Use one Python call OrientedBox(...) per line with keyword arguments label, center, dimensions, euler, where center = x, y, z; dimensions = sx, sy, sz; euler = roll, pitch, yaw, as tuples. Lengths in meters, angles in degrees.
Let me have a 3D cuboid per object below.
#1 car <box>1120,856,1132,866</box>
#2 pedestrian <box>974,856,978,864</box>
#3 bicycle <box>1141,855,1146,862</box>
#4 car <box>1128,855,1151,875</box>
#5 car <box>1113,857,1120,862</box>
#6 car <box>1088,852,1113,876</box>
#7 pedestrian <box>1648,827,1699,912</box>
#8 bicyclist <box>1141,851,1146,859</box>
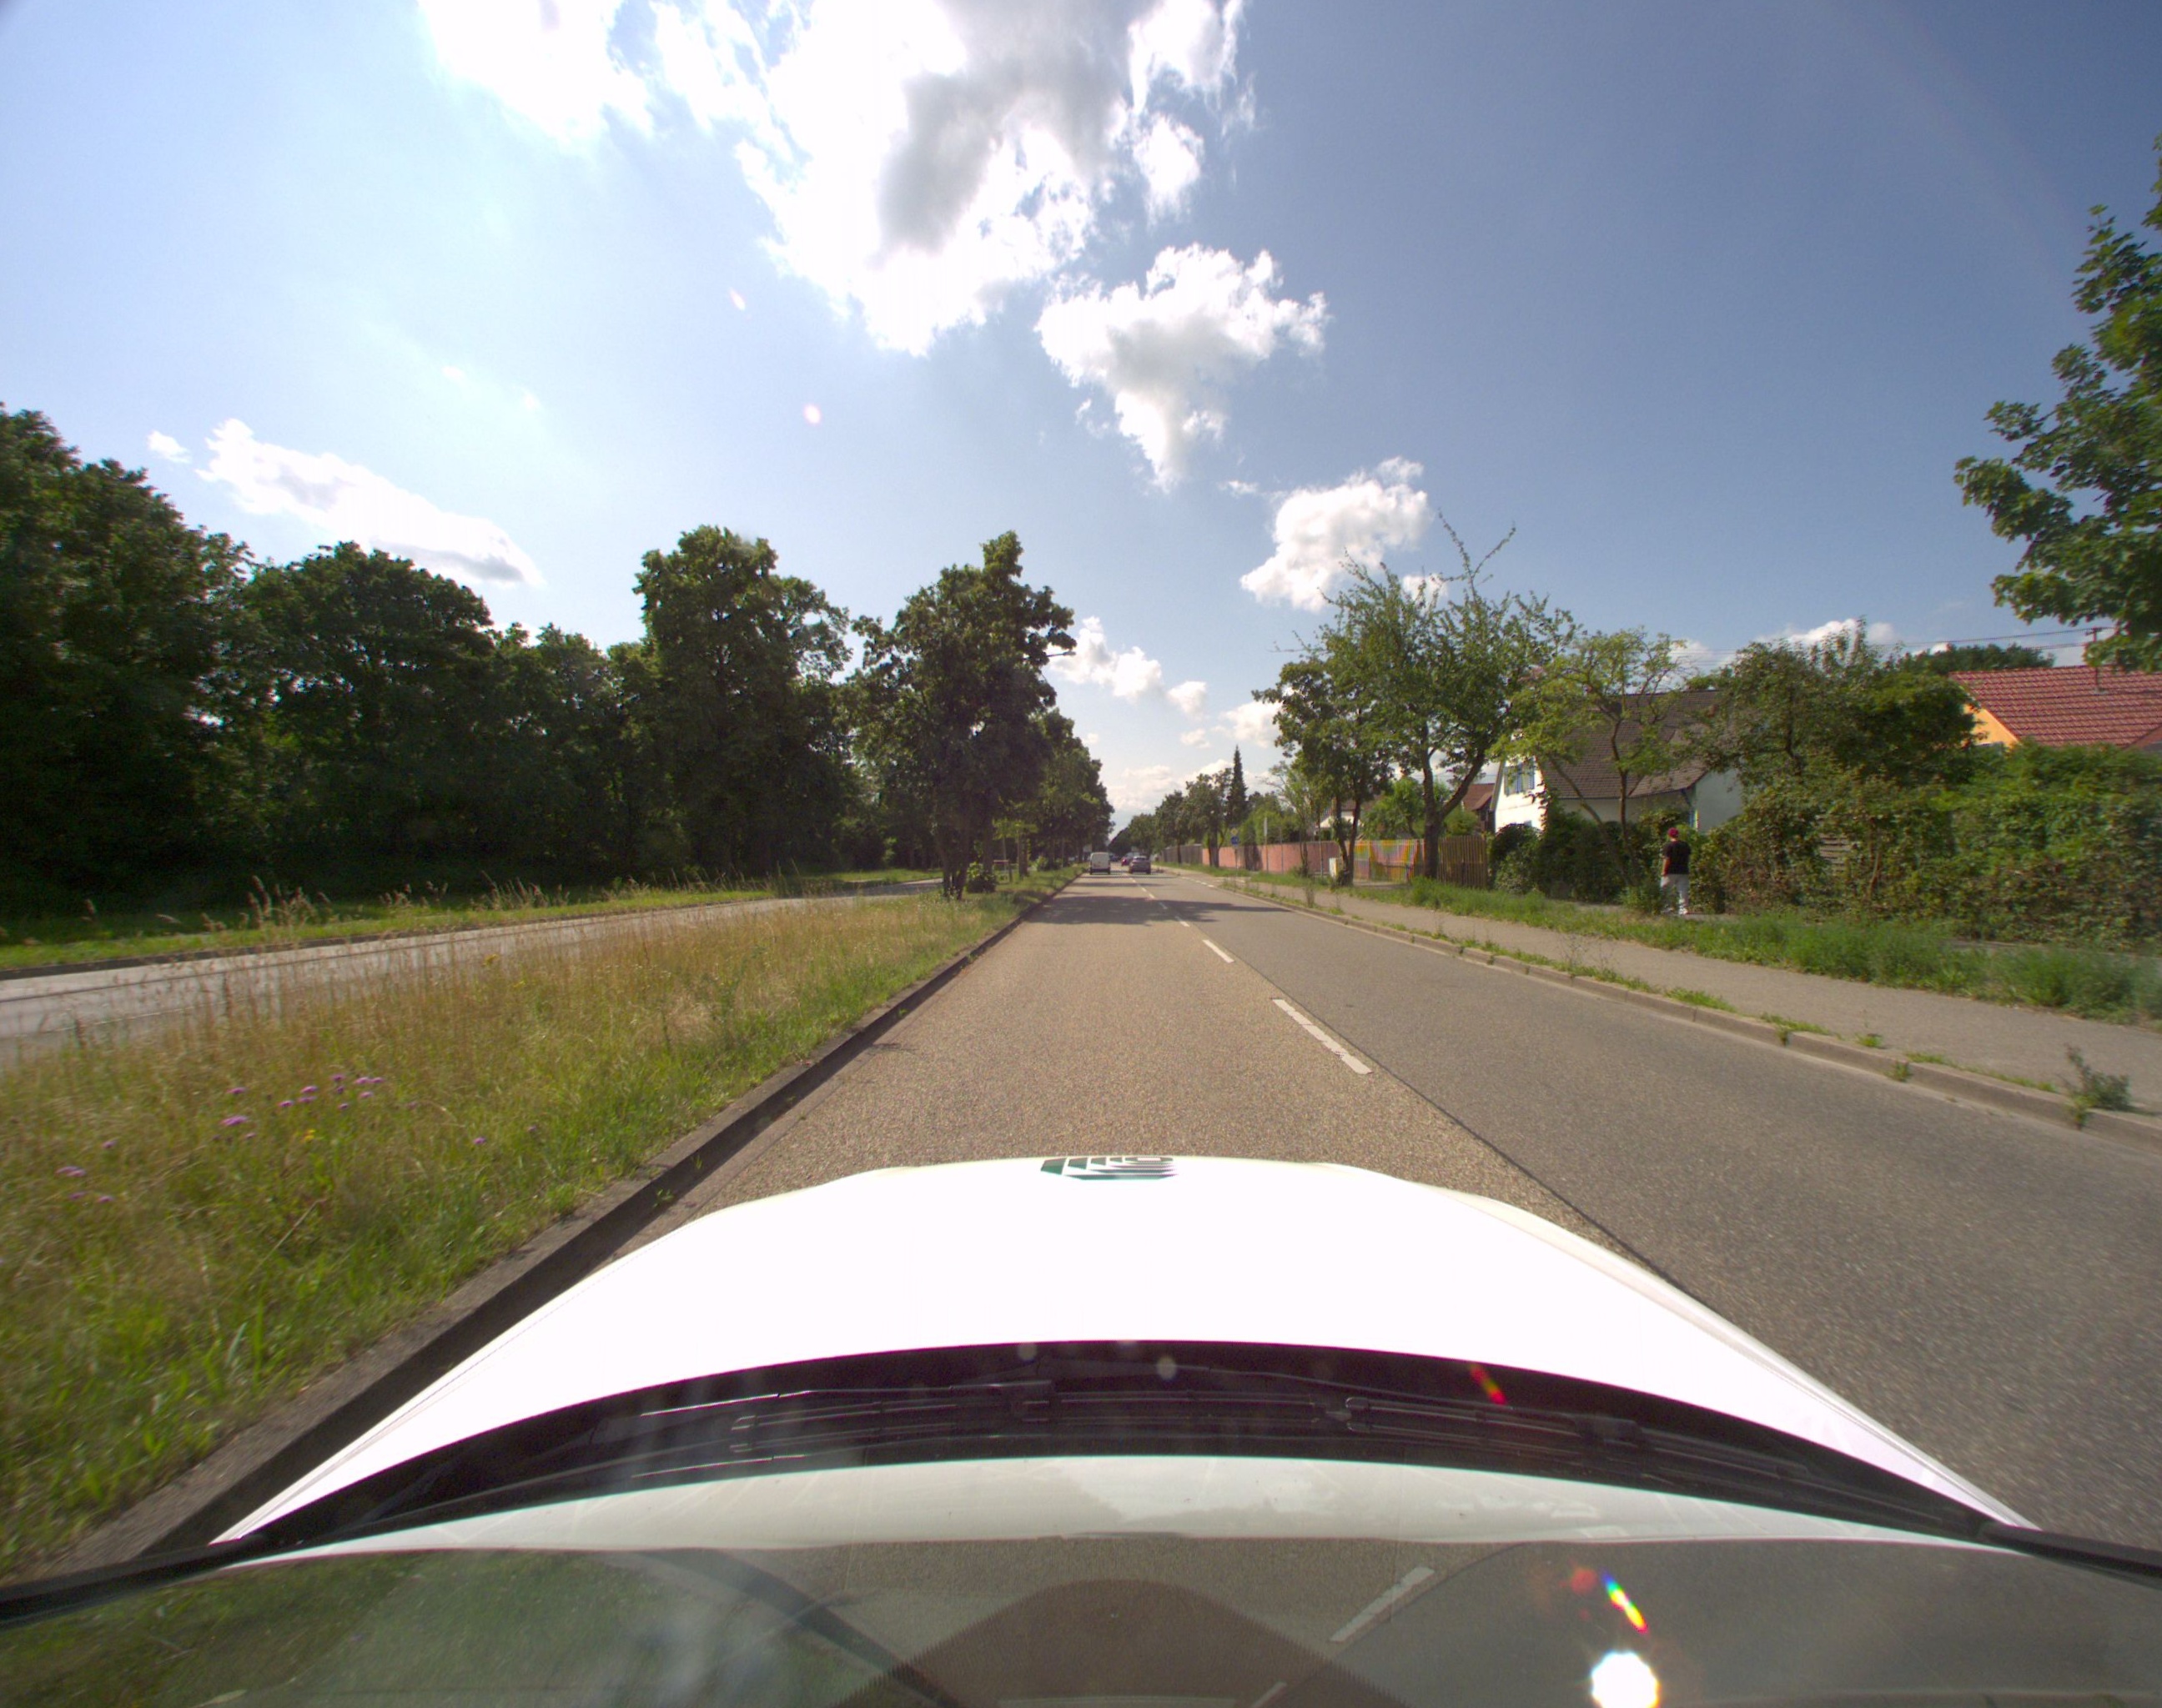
OrientedBox(label="car", center=(7.396, 1.102, 132.980), dimensions=(1.873, 1.587, 4.002), euler=(-1, 0, 2))
OrientedBox(label="pedestrian", center=(-19.731, 1.148, 152.816), dimensions=(0.641, 1.630, 0.656), euler=(0, 0, 2))
OrientedBox(label="bicycle", center=(11.296, 0.818, 146.904), dimensions=(0.643, 1.067, 2.280), euler=(-3, 0, 3))
OrientedBox(label="car", center=(5.063, 0.939, 70.724), dimensions=(1.868, 1.589, 4.186), euler=(-1, 0, 2))
OrientedBox(label="car", center=(10.639, 1.660, 246.838), dimensions=(1.986, 1.772, 4.148), euler=(0, 0, 2))
OrientedBox(label="car", center=(1.676, 0.814, 69.544), dimensions=(2.058, 1.912, 4.648), euler=(-1, 0, 2))
OrientedBox(label="pedestrian", center=(11.908, 0.308, 16.384), dimensions=(0.558, 1.677, 0.634), euler=(-1, 0, 1))
OrientedBox(label="bicyclist", center=(11.272, 0.266, 146.989), dimensions=(0.652, 1.412, 0.987), euler=(-3, -1, 2))
